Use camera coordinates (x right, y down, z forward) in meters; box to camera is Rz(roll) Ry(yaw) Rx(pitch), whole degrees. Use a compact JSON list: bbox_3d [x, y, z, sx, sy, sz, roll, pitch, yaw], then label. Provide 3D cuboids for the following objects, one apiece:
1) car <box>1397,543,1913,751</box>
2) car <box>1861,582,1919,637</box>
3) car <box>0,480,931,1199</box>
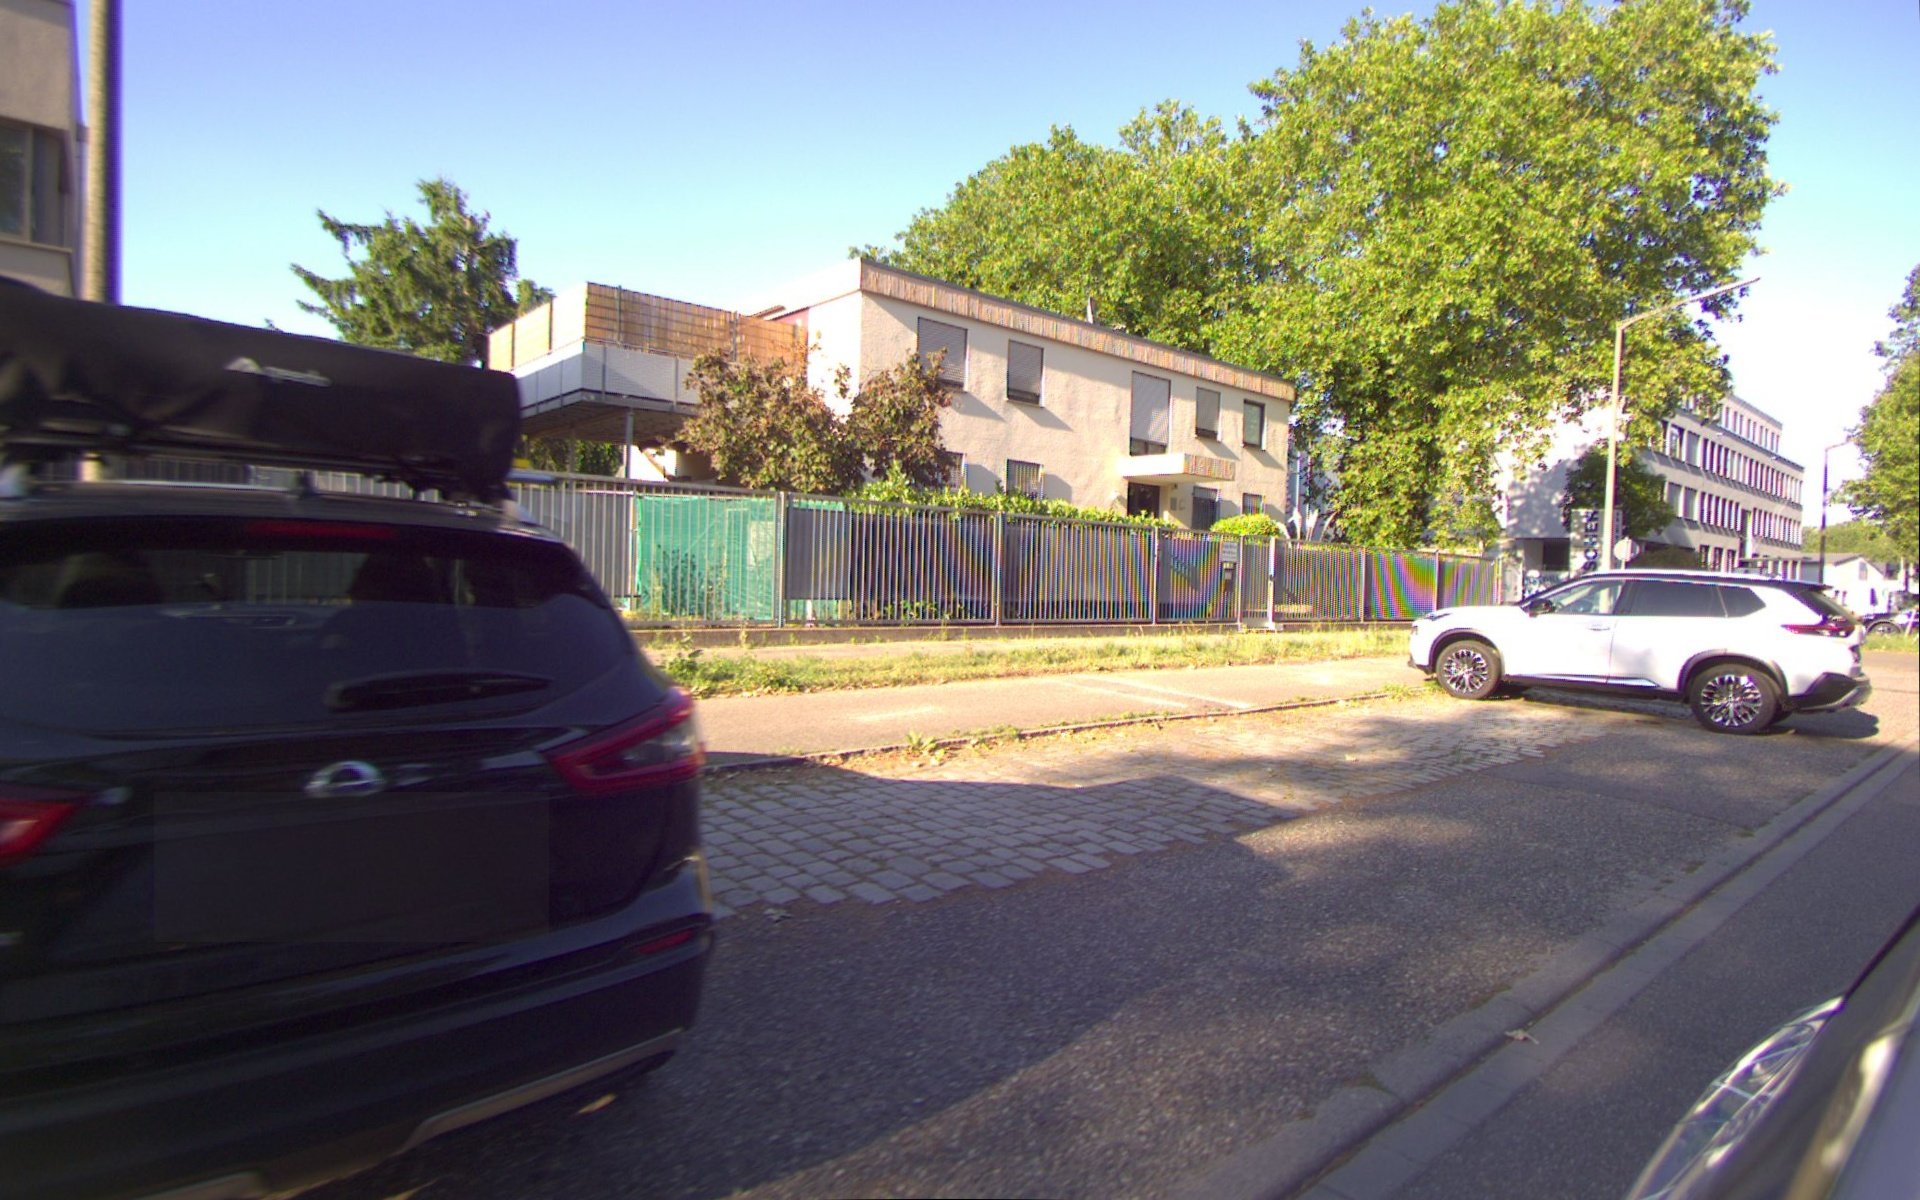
[{"bbox_3d":[8.005,0.359,12.071,1.966,1.732,4.635,0,5,-42],"label":"car"},{"bbox_3d":[33.597,0.448,34.097,1.911,1.736,4.577,0,5,-43],"label":"car"},{"bbox_3d":[-2.370,0.455,3.466,1.966,1.544,4.635,0,5,-42],"label":"car"}]
